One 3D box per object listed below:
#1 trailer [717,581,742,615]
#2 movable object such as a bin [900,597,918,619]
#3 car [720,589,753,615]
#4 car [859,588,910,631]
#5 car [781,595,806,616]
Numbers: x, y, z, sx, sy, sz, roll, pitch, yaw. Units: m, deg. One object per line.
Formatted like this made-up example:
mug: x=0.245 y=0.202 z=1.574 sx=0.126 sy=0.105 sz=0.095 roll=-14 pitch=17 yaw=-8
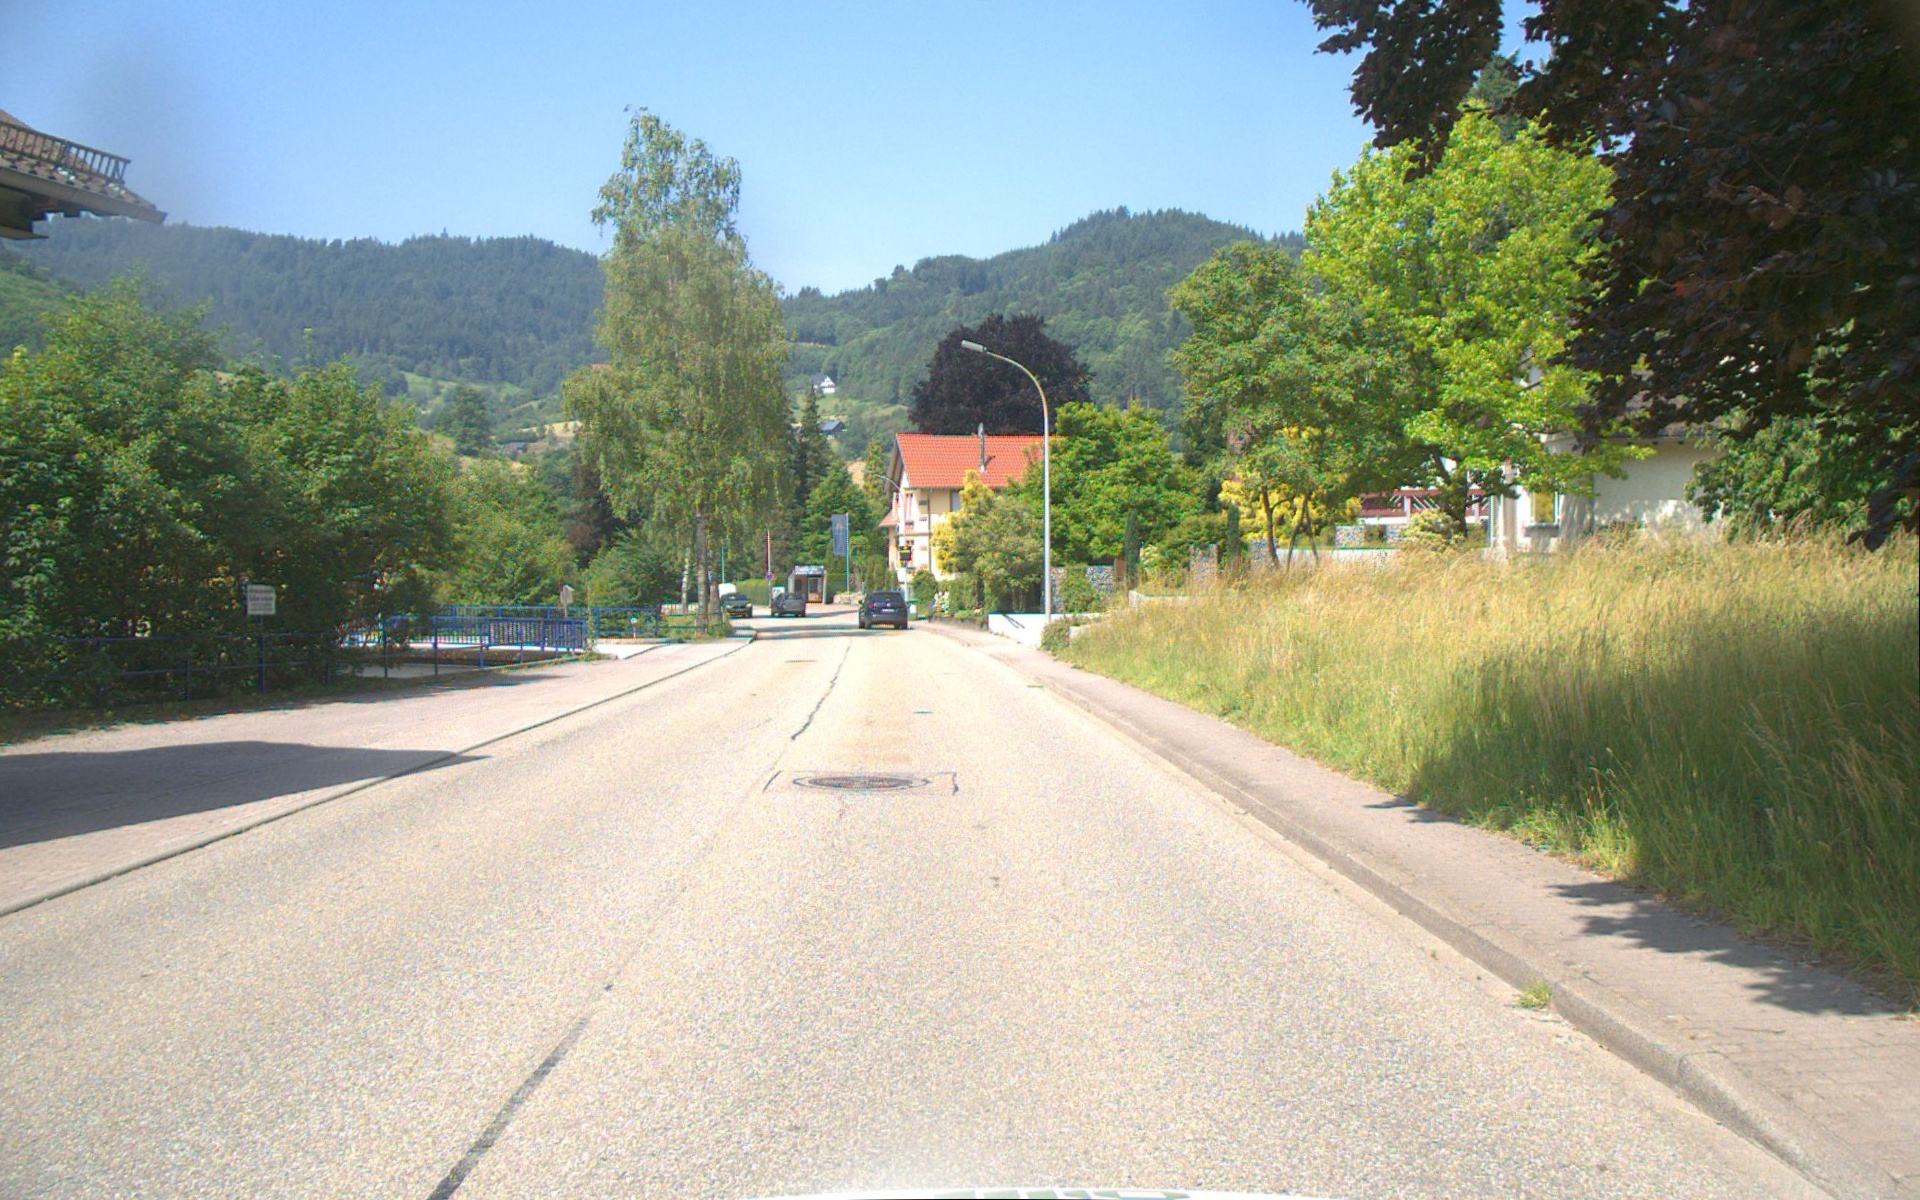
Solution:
trailer: x=-15.047 y=-0.150 z=107.899 sx=1.440 sy=2.114 sz=3.663 roll=-2 pitch=0 yaw=-9
movable object such as a bin: x=-2.566 y=0.393 z=83.410 sx=0.794 sy=1.060 sz=0.577 roll=-2 pitch=1 yaw=-11
car: x=-14.052 y=0.127 z=103.854 sx=1.781 sy=1.527 sz=4.138 roll=-2 pitch=0 yaw=-11
car: x=-3.256 y=0.389 z=70.735 sx=1.883 sy=1.728 sz=3.783 roll=-2 pitch=0 yaw=-6
car: x=-10.437 y=0.320 z=103.779 sx=1.447 sy=1.230 sz=2.383 roll=-2 pitch=1 yaw=-3
